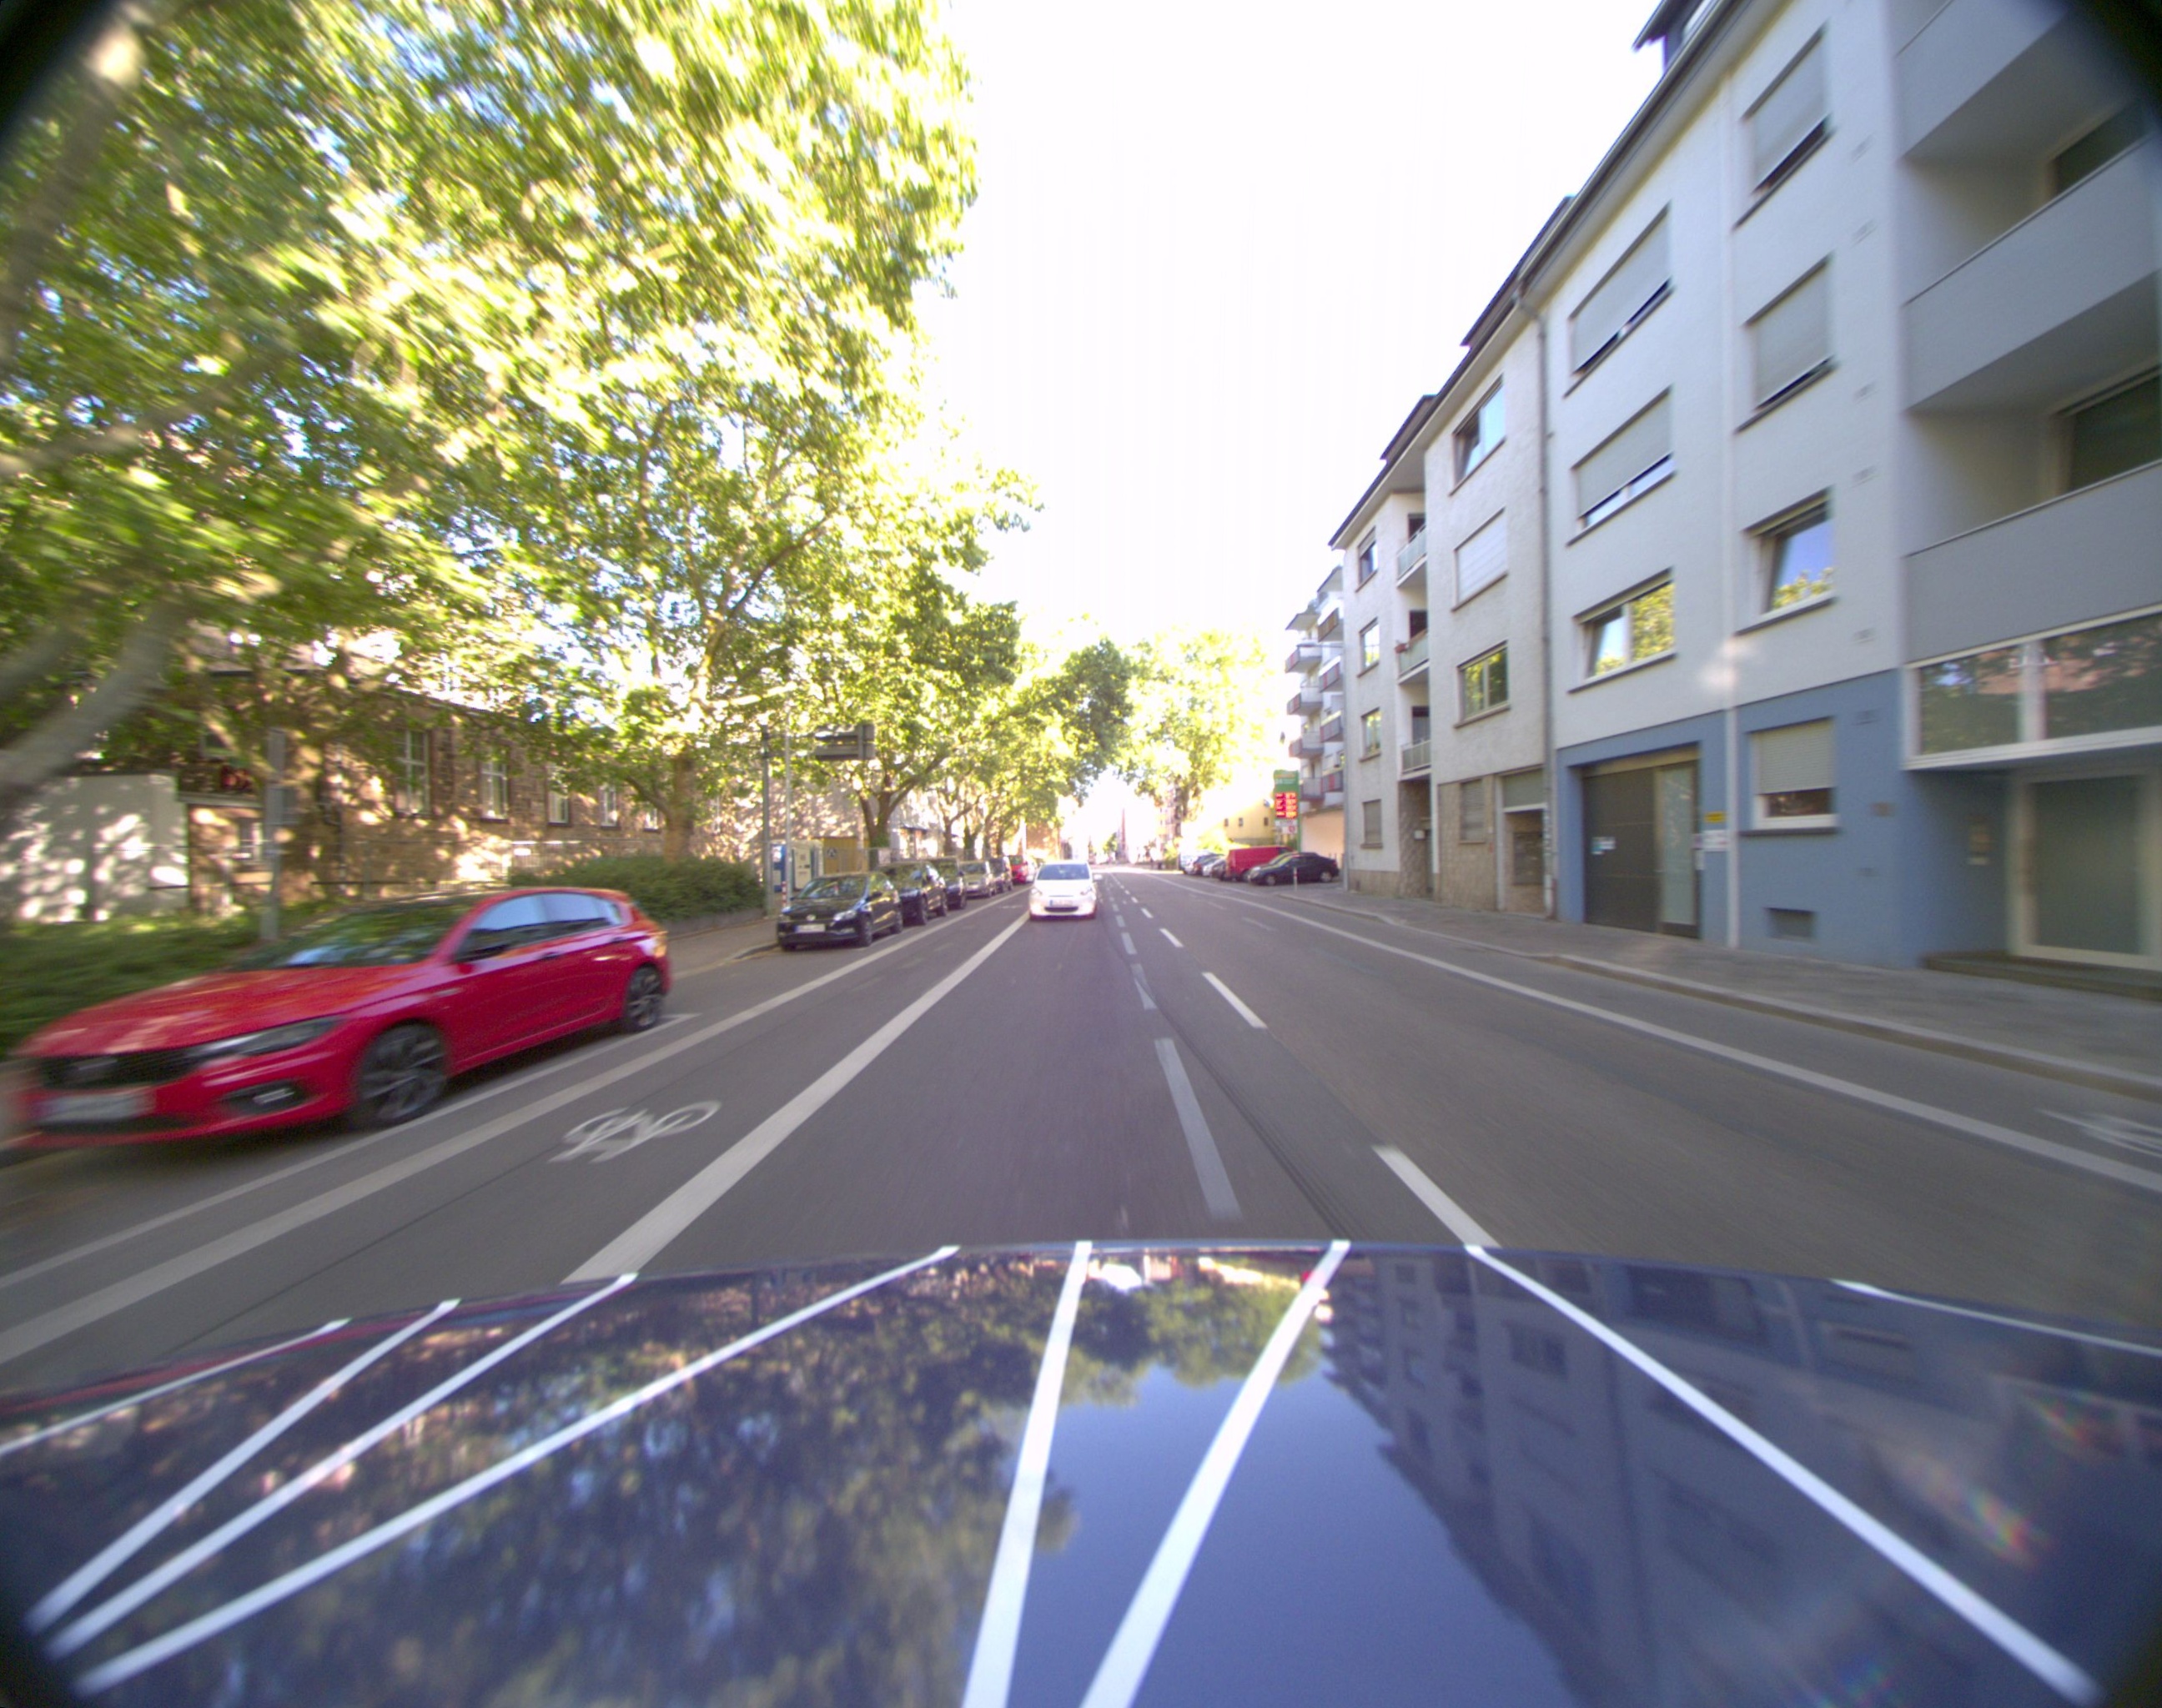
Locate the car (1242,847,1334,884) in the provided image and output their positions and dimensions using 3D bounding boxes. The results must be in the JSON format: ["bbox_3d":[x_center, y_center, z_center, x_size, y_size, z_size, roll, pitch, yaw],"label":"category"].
[{"bbox_3d":[10.624,0.579,39.256,4.183,1.554,1.886,-4,0,1],"label":"car"}]

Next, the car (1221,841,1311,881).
[{"bbox_3d":[10.279,0.384,42.463,4.432,1.940,2.146,-4,0,1],"label":"car"}]

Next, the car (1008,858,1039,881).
[{"bbox_3d":[-4.064,1.056,53.826,1.641,1.476,3.760,-3,0,3],"label":"car"}]

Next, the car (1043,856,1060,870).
[{"bbox_3d":[-3.330,1.030,85.622,1.860,1.428,4.969,-2,0,-2],"label":"car"}]

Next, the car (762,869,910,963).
[{"bbox_3d":[-4.829,1.151,15.566,1.697,1.495,4.019,-3,0,-1],"label":"car"}]

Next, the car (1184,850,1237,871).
[{"bbox_3d":[10.720,0.558,63.122,3.997,1.550,1.853,-3,0,1],"label":"car"}]

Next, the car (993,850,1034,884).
[{"bbox_3d":[-4.291,0.815,49.080,2.083,1.982,5.171,-3,0,-1],"label":"car"}]

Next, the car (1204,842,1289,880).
[{"bbox_3d":[9.809,0.419,45.295,4.533,1.940,2.057,-4,0,1],"label":"car"}]

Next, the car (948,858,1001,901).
[{"bbox_3d":[-4.563,1.042,33.102,1.697,1.618,4.329,-3,0,-1],"label":"car"}]

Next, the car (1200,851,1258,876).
[{"bbox_3d":[10.378,0.676,53.513,3.694,1.504,1.831,-3,0,1],"label":"car"}]

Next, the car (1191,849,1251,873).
[{"bbox_3d":[10.699,0.526,58.461,4.204,1.674,2.028,-3,0,1],"label":"car"}]

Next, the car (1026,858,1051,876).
[{"bbox_3d":[-3.798,1.155,68.952,1.860,1.513,4.599,-3,0,0],"label":"car"}]

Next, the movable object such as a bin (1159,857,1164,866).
[{"bbox_3d":[10.400,0.960,97.700,0.595,1.065,0.644,-1,0,1],"label":"movable object such as a bin"}]

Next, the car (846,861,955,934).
[{"bbox_3d":[-4.733,1.067,20.648,1.780,1.618,4.620,-3,0,0],"label":"car"}]

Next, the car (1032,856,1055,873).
[{"bbox_3d":[-3.666,1.033,74.835,1.860,1.514,4.297,-3,0,0],"label":"car"}]

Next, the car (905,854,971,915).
[{"bbox_3d":[-4.846,0.976,26.409,1.830,1.830,4.896,-3,0,-7],"label":"car"}]

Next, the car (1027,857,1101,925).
[{"bbox_3d":[-0.359,0.896,20.011,1.683,1.490,3.685,-3,1,1],"label":"car"}]

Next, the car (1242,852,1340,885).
[{"bbox_3d":[10.233,0.690,37.247,4.239,1.372,2.046,-3,1,1],"label":"car"}]

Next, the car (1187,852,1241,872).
[{"bbox_3d":[10.648,0.615,60.996,3.997,1.424,1.853,-3,0,1],"label":"car"}]

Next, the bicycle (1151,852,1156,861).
[{"bbox_3d":[10.115,0.371,106.206,0.608,1.232,2.050,1,0,1],"label":"bicycle"}]

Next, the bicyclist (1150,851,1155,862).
[{"bbox_3d":[10.048,0.410,106.469,0.608,1.535,0.934,1,0,1],"label":"bicyclist"}]

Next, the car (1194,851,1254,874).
[{"bbox_3d":[10.461,0.608,55.702,3.997,1.447,1.916,-3,0,1],"label":"car"}]

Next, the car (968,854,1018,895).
[{"bbox_3d":[-4.295,0.953,37.737,1.697,1.802,4.130,-3,0,3],"label":"car"}]

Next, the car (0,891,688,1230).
[{"bbox_3d":[-5.200,1.189,6.080,1.697,1.470,4.318,-3,0,1],"label":"car"}]

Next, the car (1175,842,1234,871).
[{"bbox_3d":[10.996,0.218,67.767,4.856,2.204,2.140,-3,0,1],"label":"car"}]
